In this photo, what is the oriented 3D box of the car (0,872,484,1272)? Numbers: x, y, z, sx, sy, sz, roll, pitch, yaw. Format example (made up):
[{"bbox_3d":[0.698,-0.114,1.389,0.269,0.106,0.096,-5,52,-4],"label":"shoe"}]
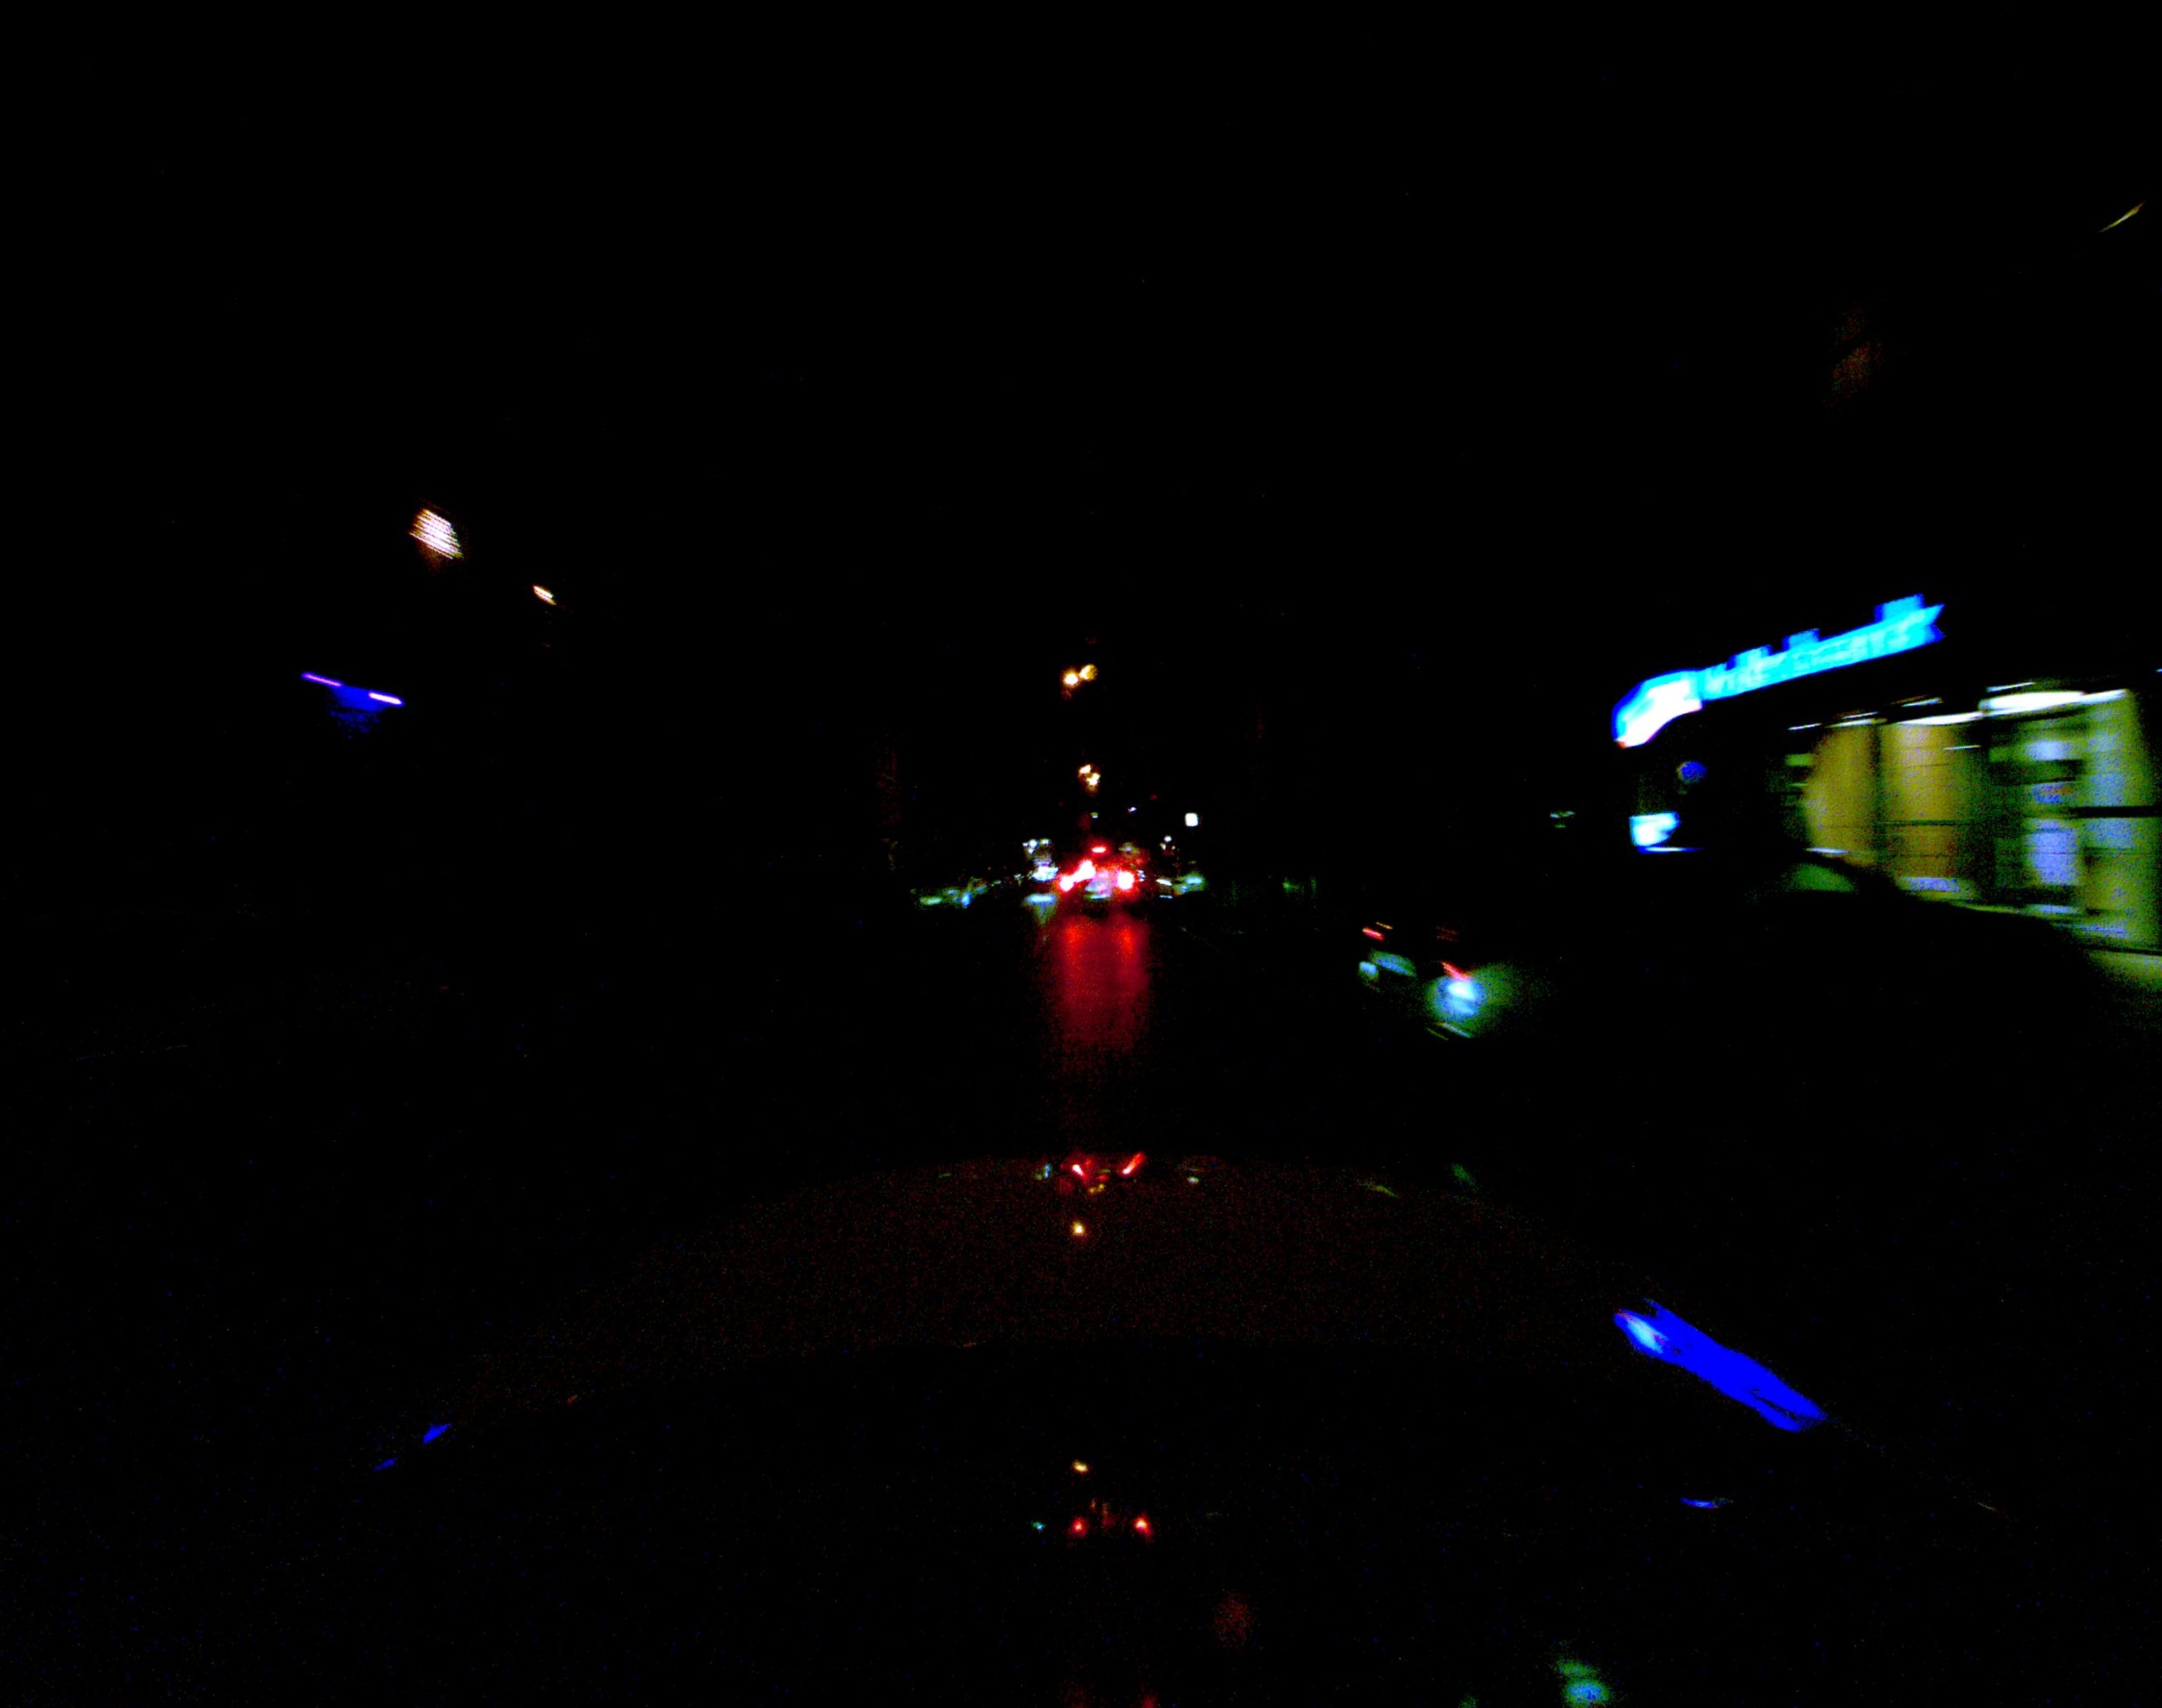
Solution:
[{"bbox_3d":[-5.150,0.890,3.275,1.760,1.483,4.775,2,0,3],"label":"car"}]

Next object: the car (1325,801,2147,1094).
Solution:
[{"bbox_3d":[4.321,0.579,5.940,4.496,1.530,1.780,-4,0,1],"label":"car"}]

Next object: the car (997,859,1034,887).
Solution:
[{"bbox_3d":[-3.876,1.126,48.801,1.738,1.588,3.767,-1,-1,2],"label":"car"}]

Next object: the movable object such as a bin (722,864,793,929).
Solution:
[{"bbox_3d":[-7.730,0.988,19.548,1.098,1.454,1.378,-2,-1,0],"label":"movable object such as a bin"}]

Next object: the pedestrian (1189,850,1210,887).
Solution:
[{"bbox_3d":[5.965,0.720,41.009,0.858,1.788,1.084,-3,0,5],"label":"pedestrian"}]

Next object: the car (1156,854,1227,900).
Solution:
[{"bbox_3d":[3.802,0.768,28.769,1.986,1.464,4.418,-1,-1,2],"label":"car"}]

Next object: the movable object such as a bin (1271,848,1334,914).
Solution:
[{"bbox_3d":[5.052,0.611,18.656,1.300,1.429,1.053,-1,-1,11],"label":"movable object such as a bin"}]

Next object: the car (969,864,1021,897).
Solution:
[{"bbox_3d":[-4.009,1.217,38.546,1.815,1.390,4.427,-1,-1,2],"label":"car"}]

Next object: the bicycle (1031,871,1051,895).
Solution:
[{"bbox_3d":[-1.955,1.418,39.933,0.724,1.073,2.349,-2,-1,2],"label":"bicycle"}]

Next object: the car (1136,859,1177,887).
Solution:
[{"bbox_3d":[4.042,0.986,44.317,1.911,1.412,4.000,-2,0,1],"label":"car"}]

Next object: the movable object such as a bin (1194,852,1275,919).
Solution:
[{"bbox_3d":[3.470,0.689,18.461,1.347,1.429,1.188,-1,-1,-35],"label":"movable object such as a bin"}]

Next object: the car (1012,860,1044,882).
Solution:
[{"bbox_3d":[-3.743,1.170,58.335,1.826,1.486,4.596,-1,0,2],"label":"car"}]

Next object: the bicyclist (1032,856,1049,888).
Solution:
[{"bbox_3d":[-1.995,0.873,39.937,0.716,1.556,0.895,-2,-1,1],"label":"bicyclist"}]

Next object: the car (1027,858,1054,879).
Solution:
[{"bbox_3d":[-3.393,1.224,69.005,1.826,1.717,4.596,-1,-1,2],"label":"car"}]

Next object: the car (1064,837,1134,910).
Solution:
[{"bbox_3d":[0.619,0.567,25.763,1.988,2.049,4.696,-1,0,2],"label":"car"}]

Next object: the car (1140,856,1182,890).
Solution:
[{"bbox_3d":[3.816,0.891,39.153,1.683,1.498,3.892,-2,-1,1],"label":"car"}]

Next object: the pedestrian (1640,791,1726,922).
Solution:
[{"bbox_3d":[8.576,0.036,11.628,0.699,1.788,0.625,-3,0,5],"label":"pedestrian"}]

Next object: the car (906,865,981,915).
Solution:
[{"bbox_3d":[-4.343,1.100,26.212,1.666,1.491,3.723,0,-1,2],"label":"car"}]

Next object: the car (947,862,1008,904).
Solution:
[{"bbox_3d":[-4.113,1.121,32.983,1.768,1.572,4.136,-1,-1,2],"label":"car"}]

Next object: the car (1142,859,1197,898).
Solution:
[{"bbox_3d":[3.610,0.981,33.737,1.685,1.498,3.888,-2,-1,-2],"label":"car"}]
